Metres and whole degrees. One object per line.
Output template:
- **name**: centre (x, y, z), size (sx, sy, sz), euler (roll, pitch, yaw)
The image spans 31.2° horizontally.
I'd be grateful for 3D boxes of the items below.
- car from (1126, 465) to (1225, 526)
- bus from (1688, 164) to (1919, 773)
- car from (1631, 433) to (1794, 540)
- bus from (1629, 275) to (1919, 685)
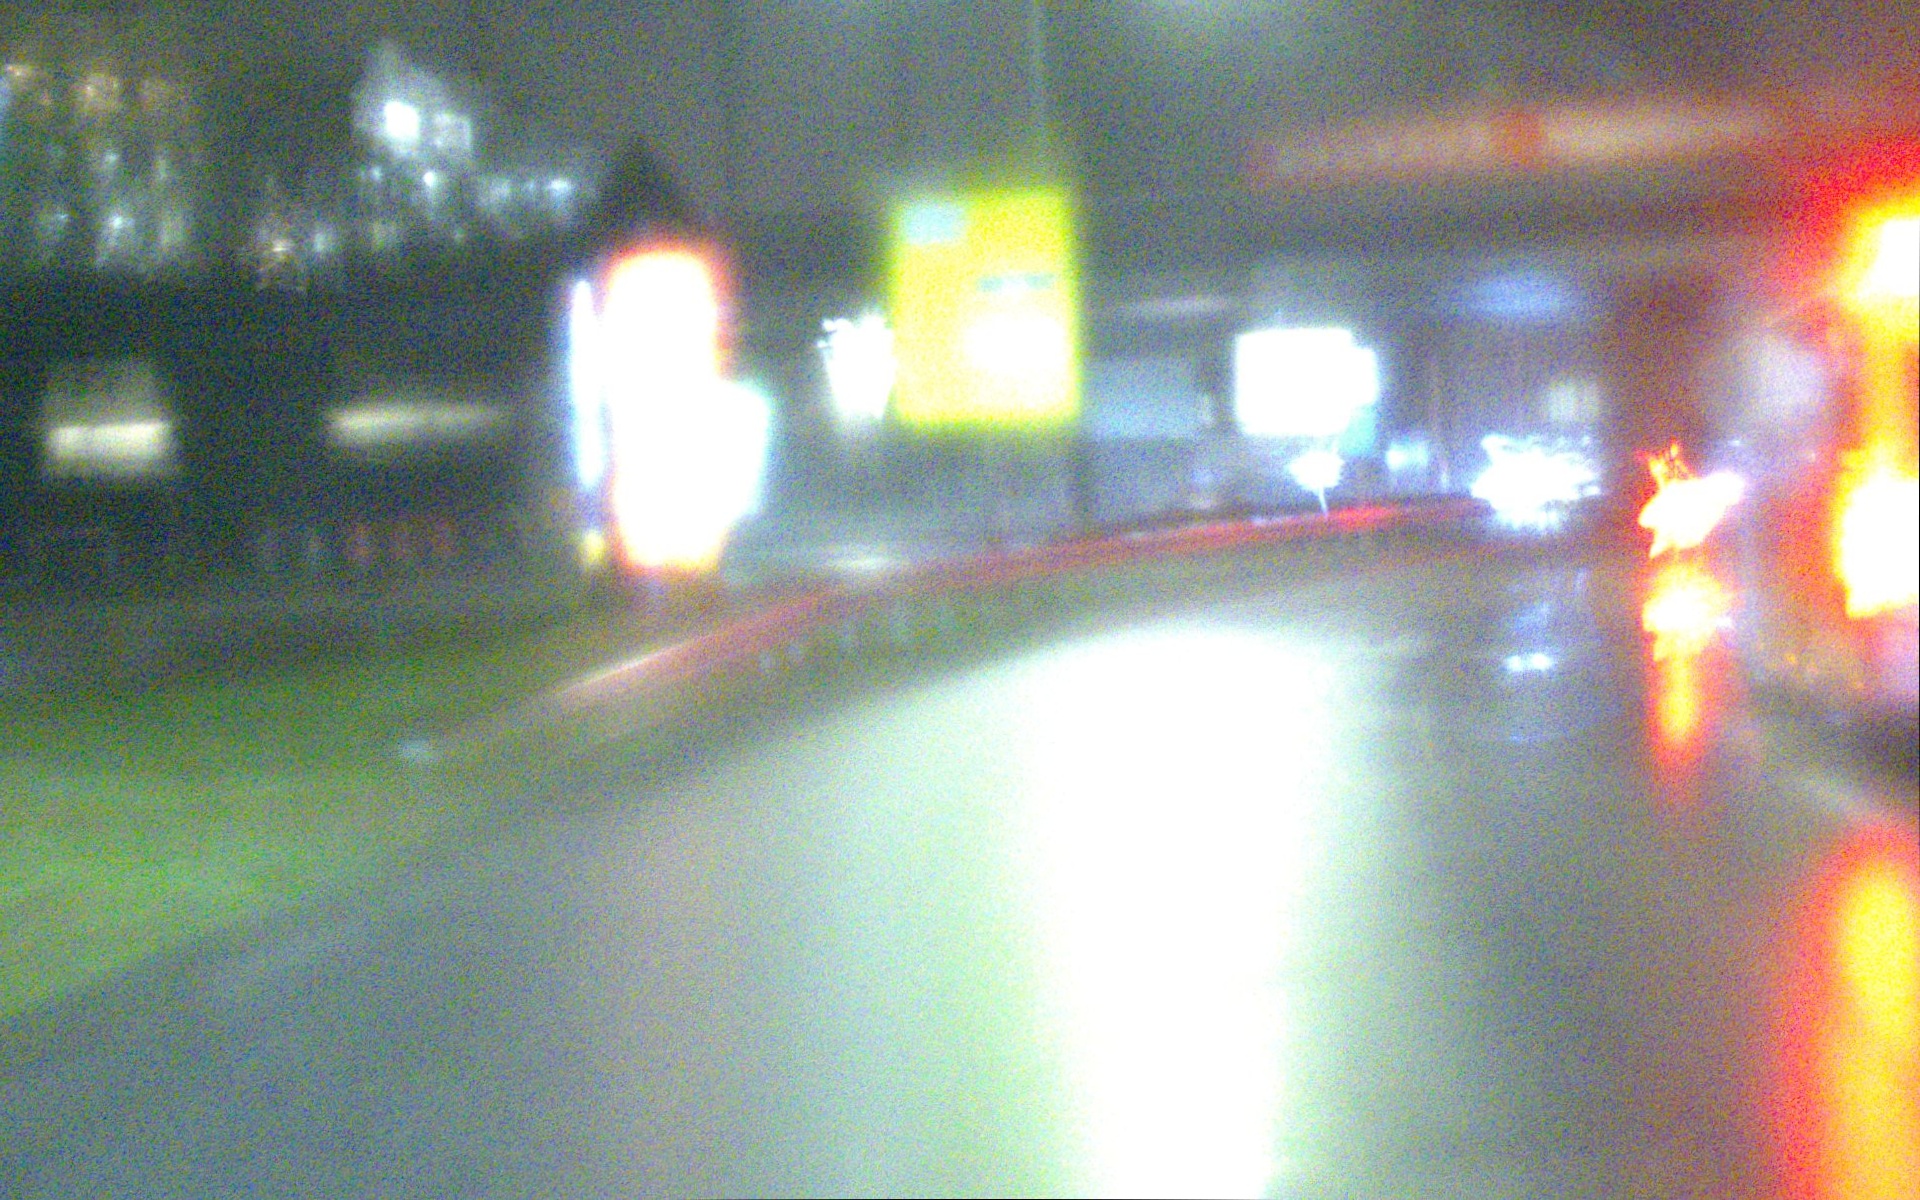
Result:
- **car**: centre (5.307, -2.568, 84.131), size (1.568, 1.422, 3.950), euler (0, 2, 16)
- **bus**: centre (6.631, -0.817, 22.422), size (3.044, 3.201, 9.048), euler (1, 2, 8)
- **car**: centre (12.632, -1.916, 57.588), size (1.790, 1.678, 3.995), euler (0, 3, 25)
- **bus**: centre (7.903, -1.070, 31.371), size (3.044, 3.201, 9.048), euler (1, 2, 8)
